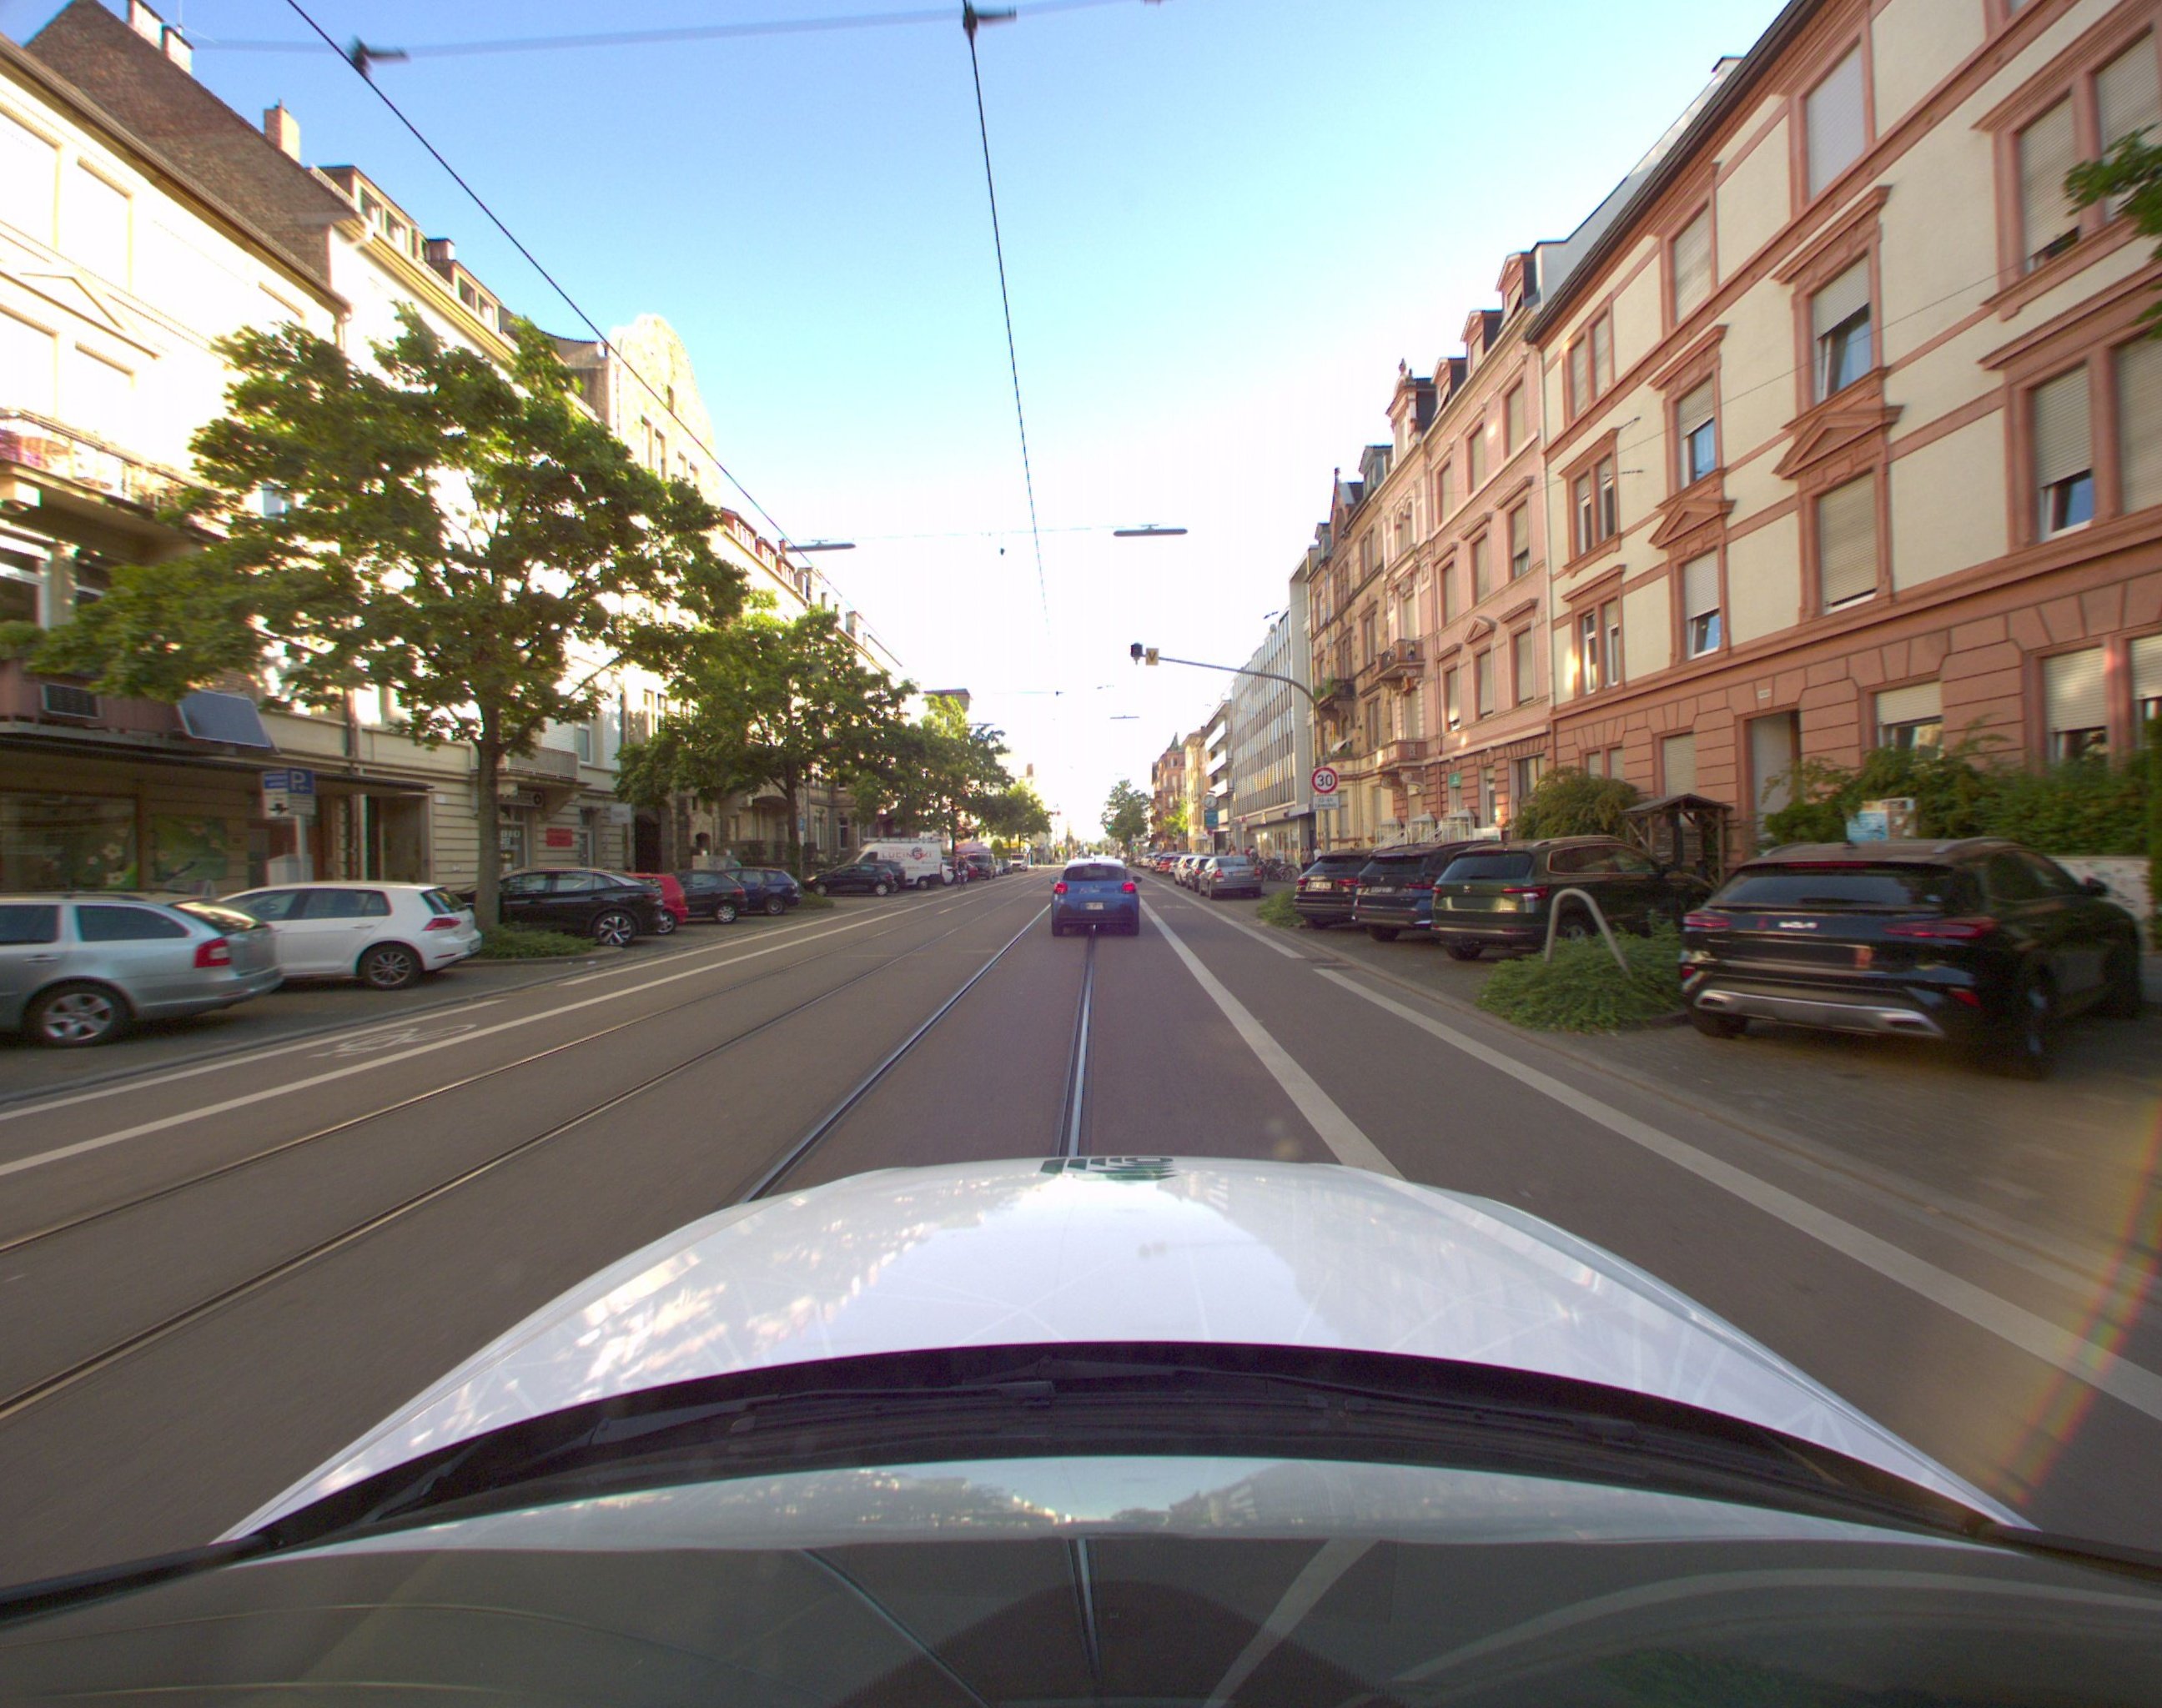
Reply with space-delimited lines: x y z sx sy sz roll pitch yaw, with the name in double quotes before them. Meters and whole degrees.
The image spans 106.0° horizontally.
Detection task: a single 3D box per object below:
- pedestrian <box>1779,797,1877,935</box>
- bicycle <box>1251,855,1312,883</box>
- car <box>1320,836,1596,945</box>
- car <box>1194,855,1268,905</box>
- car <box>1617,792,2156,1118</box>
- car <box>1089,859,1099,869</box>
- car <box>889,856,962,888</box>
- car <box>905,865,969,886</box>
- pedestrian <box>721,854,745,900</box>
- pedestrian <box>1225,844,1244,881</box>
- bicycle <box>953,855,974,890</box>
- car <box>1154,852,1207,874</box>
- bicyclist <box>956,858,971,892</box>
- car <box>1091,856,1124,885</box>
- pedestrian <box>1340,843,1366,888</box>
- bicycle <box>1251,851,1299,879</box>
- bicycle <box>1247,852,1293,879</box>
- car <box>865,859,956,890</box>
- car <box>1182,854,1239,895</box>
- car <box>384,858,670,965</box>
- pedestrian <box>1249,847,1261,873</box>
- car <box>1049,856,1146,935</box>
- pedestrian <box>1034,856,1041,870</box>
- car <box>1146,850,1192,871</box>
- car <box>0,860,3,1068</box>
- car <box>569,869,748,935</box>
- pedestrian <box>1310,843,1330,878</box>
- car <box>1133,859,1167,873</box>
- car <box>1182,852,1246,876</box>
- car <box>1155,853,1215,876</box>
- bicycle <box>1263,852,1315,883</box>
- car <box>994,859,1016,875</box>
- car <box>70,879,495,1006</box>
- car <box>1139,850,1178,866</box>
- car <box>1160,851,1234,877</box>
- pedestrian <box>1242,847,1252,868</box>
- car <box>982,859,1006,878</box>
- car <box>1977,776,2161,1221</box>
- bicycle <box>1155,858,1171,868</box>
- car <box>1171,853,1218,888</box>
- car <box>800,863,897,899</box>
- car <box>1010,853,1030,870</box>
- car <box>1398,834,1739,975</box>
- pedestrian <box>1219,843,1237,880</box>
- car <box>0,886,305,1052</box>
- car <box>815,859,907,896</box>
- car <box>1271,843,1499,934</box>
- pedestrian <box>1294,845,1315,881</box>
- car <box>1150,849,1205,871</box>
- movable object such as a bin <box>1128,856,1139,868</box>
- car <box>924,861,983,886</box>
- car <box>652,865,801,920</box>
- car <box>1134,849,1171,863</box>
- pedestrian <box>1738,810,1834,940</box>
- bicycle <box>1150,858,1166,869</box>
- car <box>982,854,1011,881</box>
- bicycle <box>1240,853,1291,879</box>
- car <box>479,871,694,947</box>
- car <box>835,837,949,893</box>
"pedestrian" 10.062 0.161 10.998 0.516 1.778 0.864 -1 -1 2
"bicycle" 8.927 0.670 36.312 2.529 1.221 0.664 -1 -1 0
"car" 6.299 0.524 13.666 4.004 1.596 2.071 -1 -1 -23
"car" 5.168 0.852 28.597 1.866 1.596 4.721 -1 -1 2
"car" 6.419 0.474 6.386 4.348 1.595 2.024 -5 2 -32
"car" 2.007 1.535 125.933 1.417 1.432 3.140 -1 -1 2
"car" -9.353 1.062 49.017 4.006 1.817 1.699 -1 -1 -24
"car" -9.267 1.371 52.433 3.815 1.265 1.504 -1 -1 -24
"pedestrian" -13.402 0.869 31.352 0.576 1.726 0.762 -1 -1 1
"pedestrian" 6.777 0.364 36.039 0.709 1.607 0.654 -1 -1 0
"bicycle" -5.920 0.917 41.008 0.678 1.679 2.097 -1 -1 2
"car" 7.225 0.656 59.291 3.463 1.555 1.806 0 -1 -30
"bicyclist" -5.926 1.066 41.068 0.632 1.681 0.727 -1 -1 1
"car" 1.599 0.949 48.359 1.866 1.596 4.002 -1 -1 2
"pedestrian" 9.911 0.411 29.650 0.709 1.607 0.654 -1 -1 0
"bicycle" 8.884 0.492 37.325 2.012 1.221 0.664 -1 -1 0
"bicycle" 8.881 0.552 38.238 2.012 1.221 0.664 -1 -1 0
"car" -9.664 1.126 46.412 4.787 1.618 1.695 0 -1 -31
"car" 5.394 0.843 34.421 1.866 1.596 4.002 -1 -1 2
"car" -10.568 1.011 15.928 4.381 1.783 1.976 0 -1 -31
"pedestrian" 11.878 0.409 55.512 0.690 1.756 0.678 -1 -1 1
"car" 0.346 0.782 16.824 1.756 1.441 3.557 -1 -1 1
"pedestrian" -5.146 1.069 96.320 0.732 1.726 0.623 0 -1 -23
"car" 7.086 0.509 65.352 3.467 1.640 1.666 0 -1 -35
"car" -10.483 0.943 5.258 3.835 1.785 1.779 0 -1 -31
"car" -11.017 1.185 21.325 4.013 1.489 1.788 0 -1 -31
"pedestrian" 11.248 0.321 38.331 0.709 1.607 0.654 -1 -1 0
"car" 8.221 1.447 97.649 3.664 1.534 1.778 -1 -1 -18
"car" 8.637 0.621 53.017 3.796 1.487 1.822 0 -1 -28
"car" 7.243 0.698 56.778 3.743 1.521 1.949 0 -1 -32
"bicycle" 8.876 0.571 34.807 2.050 1.221 0.663 -2 -1 -1
"car" -7.187 1.212 76.988 1.742 1.487 4.039 -1 -1 -2
"car" -10.769 1.113 11.406 3.850 1.430 1.751 -1 -1 -25
"car" 8.055 0.405 84.994 3.674 1.574 1.844 -1 -1 -27
"car" 7.114 0.619 49.759 4.465 1.508 1.522 0 -1 -28
"pedestrian" 12.948 0.267 63.533 0.690 1.588 0.678 -1 -1 1
"car" -7.670 1.244 71.840 1.742 1.618 4.408 -1 -1 -2
"car" 6.131 0.489 3.270 4.454 1.596 2.072 -1 -1 -23
"bicycle" 8.143 0.908 81.283 0.557 1.048 1.789 0 -1 -34
"car" 5.522 0.790 39.917 1.866 1.596 4.002 -1 -1 2
"car" -10.209 1.157 35.975 3.994 1.489 1.797 -1 -1 -15
"car" -6.752 0.847 90.795 1.825 1.848 4.215 -1 -1 2
"car" 6.523 0.568 10.932 4.004 1.596 1.944 -1 -1 -23
"pedestrian" 6.743 0.336 37.310 0.709 1.671 0.654 -1 -1 0
"car" -10.677 1.118 8.073 4.032 1.449 1.682 0 -1 -31
"car" -10.428 1.095 38.591 4.006 1.618 1.699 -1 -1 -24
"car" 6.129 0.613 16.334 4.330 1.596 1.963 0 -1 -30
"pedestrian" 10.462 0.421 38.156 0.709 1.607 0.654 -4 -1 0
"car" 7.372 0.448 62.462 3.743 1.652 2.027 0 -1 -32
"movable object such as a bin" 6.853 1.065 106.965 1.389 1.483 1.656 -1 -1 1
"car" -8.771 1.290 55.878 3.736 1.622 1.777 -1 -1 -20
"car" -10.664 1.114 24.600 4.008 1.489 1.790 -1 -1 -27
"car" 8.013 0.239 91.090 3.664 1.574 1.849 -1 -1 -18
"pedestrian" 9.355 0.274 10.838 0.516 1.648 0.864 -1 -1 2
"bicycle" 7.607 0.927 80.935 0.557 1.048 1.789 0 -1 -34
"car" -6.469 0.995 62.714 1.742 1.973 5.237 -1 -1 -2
"bicycle" 9.142 0.598 40.411 2.347 1.221 0.664 -1 -1 4
"car" -11.167 1.163 18.630 4.013 1.489 1.849 0 -1 -31
"car" -9.605 0.533 41.576 5.402 2.749 1.789 0 -1 -29
